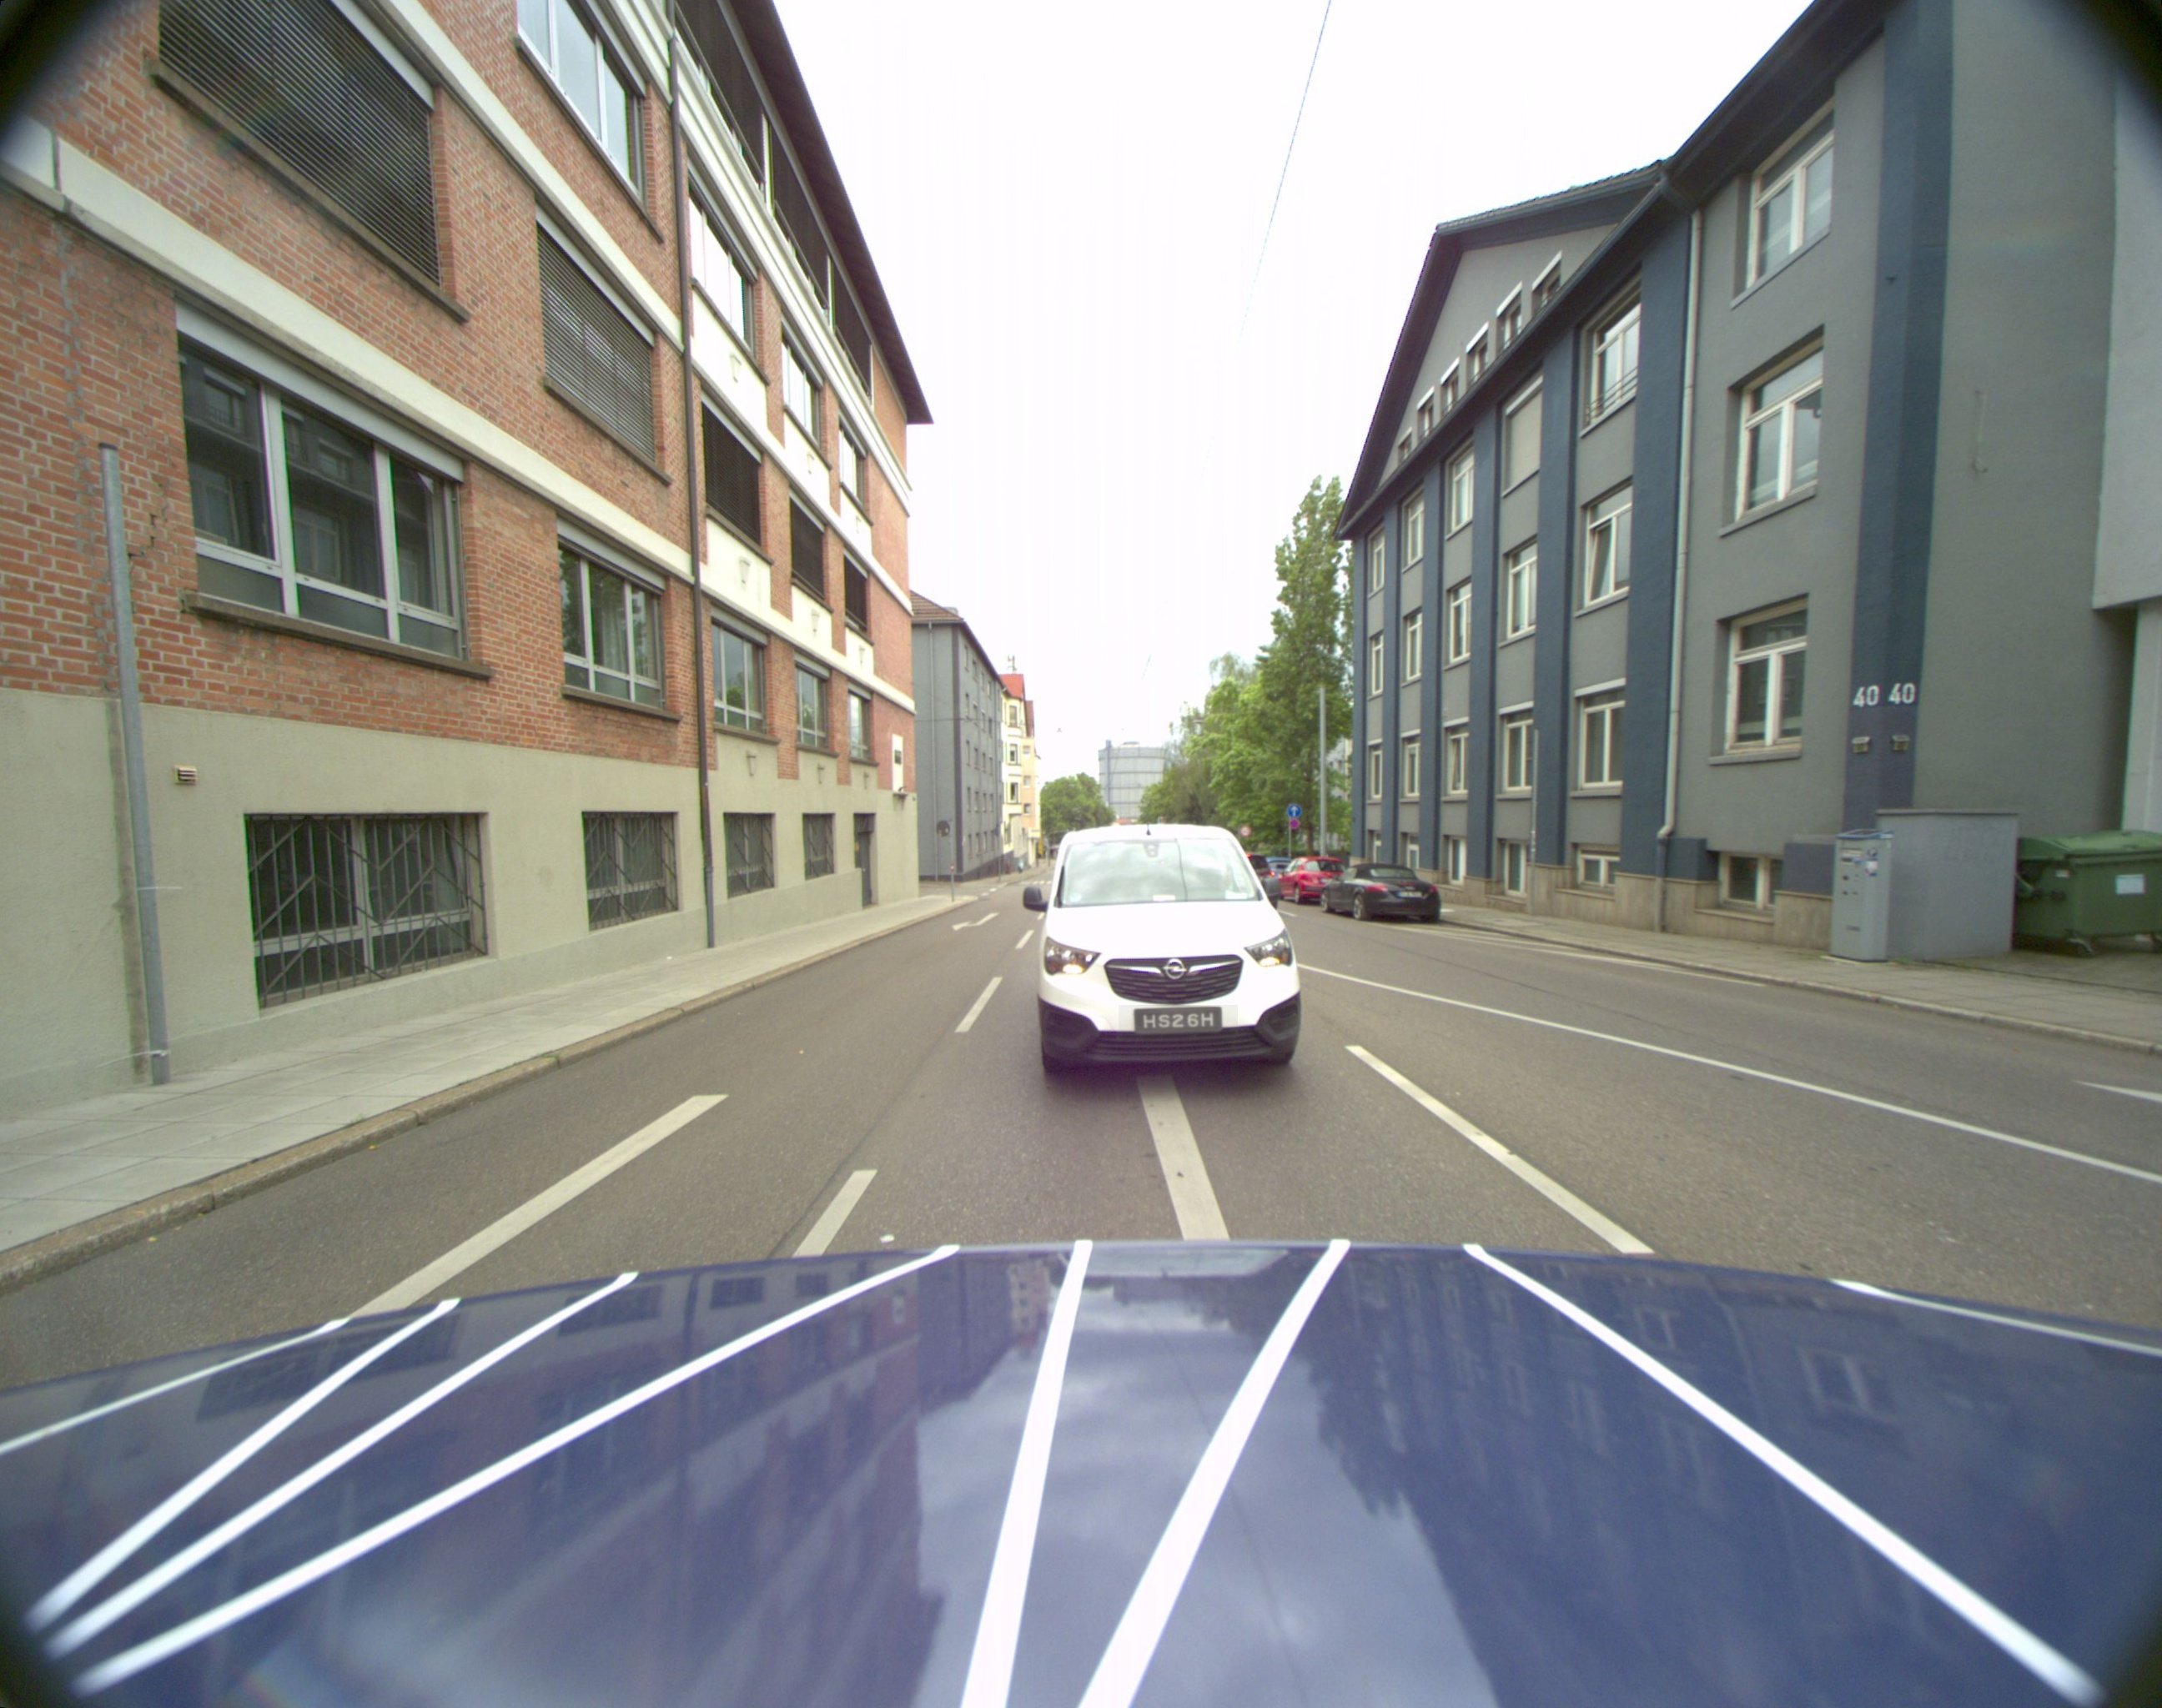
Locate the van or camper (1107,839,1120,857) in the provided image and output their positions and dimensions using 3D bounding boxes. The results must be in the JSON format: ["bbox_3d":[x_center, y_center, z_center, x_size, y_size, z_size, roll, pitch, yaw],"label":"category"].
[{"bbox_3d":[5.162,-1.004,119.934,1.914,2.754,5.925,1,0,2],"label":"van or camper"}]

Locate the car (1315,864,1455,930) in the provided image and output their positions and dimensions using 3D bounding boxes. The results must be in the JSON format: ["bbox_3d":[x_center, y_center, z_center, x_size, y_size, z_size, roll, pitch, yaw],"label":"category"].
[{"bbox_3d":[7.225,0.953,18.521,1.724,1.319,4.041,2,0,-1],"label":"car"}]

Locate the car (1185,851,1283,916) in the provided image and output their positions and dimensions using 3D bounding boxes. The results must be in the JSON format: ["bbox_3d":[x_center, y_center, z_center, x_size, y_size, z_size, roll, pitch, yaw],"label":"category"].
[{"bbox_3d":[4.061,0.730,20.804,1.708,1.578,3.935,2,0,-3],"label":"car"}]

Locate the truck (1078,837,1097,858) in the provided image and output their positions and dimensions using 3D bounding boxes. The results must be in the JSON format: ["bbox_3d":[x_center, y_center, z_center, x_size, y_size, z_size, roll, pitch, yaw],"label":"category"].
[{"bbox_3d":[1.192,-1.083,132.516,2.980,3.394,9.358,-2,0,1],"label":"truck"}]

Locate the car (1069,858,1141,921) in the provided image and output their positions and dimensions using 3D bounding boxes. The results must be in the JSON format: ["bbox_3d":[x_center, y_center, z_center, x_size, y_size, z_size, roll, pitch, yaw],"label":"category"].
[{"bbox_3d":[0.645,0.874,20.260,1.724,1.486,3.727,1,0,2],"label":"car"}]

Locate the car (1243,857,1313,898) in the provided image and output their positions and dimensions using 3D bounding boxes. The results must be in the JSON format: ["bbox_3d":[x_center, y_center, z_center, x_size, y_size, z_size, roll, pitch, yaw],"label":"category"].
[{"bbox_3d":[7.596,0.857,29.621,1.724,1.445,3.727,1,0,0],"label":"car"}]

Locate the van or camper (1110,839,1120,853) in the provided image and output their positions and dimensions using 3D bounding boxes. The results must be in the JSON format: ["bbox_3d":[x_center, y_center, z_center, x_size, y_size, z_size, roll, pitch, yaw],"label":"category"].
[{"bbox_3d":[6.700,-1.534,149.783,1.914,2.754,5.925,1,0,2],"label":"van or camper"}]

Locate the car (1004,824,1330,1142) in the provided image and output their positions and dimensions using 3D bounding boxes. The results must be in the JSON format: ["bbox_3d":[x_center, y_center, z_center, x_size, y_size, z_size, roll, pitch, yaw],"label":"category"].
[{"bbox_3d":[0.551,0.750,6.915,1.840,1.797,4.939,-2,0,1],"label":"car"}]

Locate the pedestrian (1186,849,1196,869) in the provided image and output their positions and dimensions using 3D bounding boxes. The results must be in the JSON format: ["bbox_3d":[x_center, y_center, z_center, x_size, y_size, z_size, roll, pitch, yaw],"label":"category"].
[{"bbox_3d":[10.001,0.469,69.120,0.746,1.839,0.776,-1,1,2],"label":"pedestrian"}]

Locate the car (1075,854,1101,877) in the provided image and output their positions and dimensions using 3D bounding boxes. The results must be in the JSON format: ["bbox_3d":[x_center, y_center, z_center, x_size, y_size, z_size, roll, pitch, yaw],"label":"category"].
[{"bbox_3d":[0.523,0.757,52.825,1.724,1.486,3.727,1,0,2],"label":"car"}]

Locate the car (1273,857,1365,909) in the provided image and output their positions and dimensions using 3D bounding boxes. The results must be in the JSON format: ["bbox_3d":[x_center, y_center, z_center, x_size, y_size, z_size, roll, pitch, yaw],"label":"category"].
[{"bbox_3d":[7.487,0.855,24.283,1.819,1.465,3.869,2,0,2],"label":"car"}]

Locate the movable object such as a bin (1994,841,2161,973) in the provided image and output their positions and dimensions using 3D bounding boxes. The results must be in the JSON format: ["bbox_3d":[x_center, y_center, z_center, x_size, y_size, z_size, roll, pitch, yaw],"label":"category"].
[{"bbox_3d":[12.092,0.608,9.113,1.267,1.448,0.784,-3,2,4],"label":"movable object such as a bin"}]

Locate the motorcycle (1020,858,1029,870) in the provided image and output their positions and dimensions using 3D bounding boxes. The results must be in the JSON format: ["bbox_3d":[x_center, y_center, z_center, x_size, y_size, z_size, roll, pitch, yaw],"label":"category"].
[{"bbox_3d":[-5.067,0.896,68.566,0.566,1.105,1.653,4,0,2],"label":"motorcycle"}]
